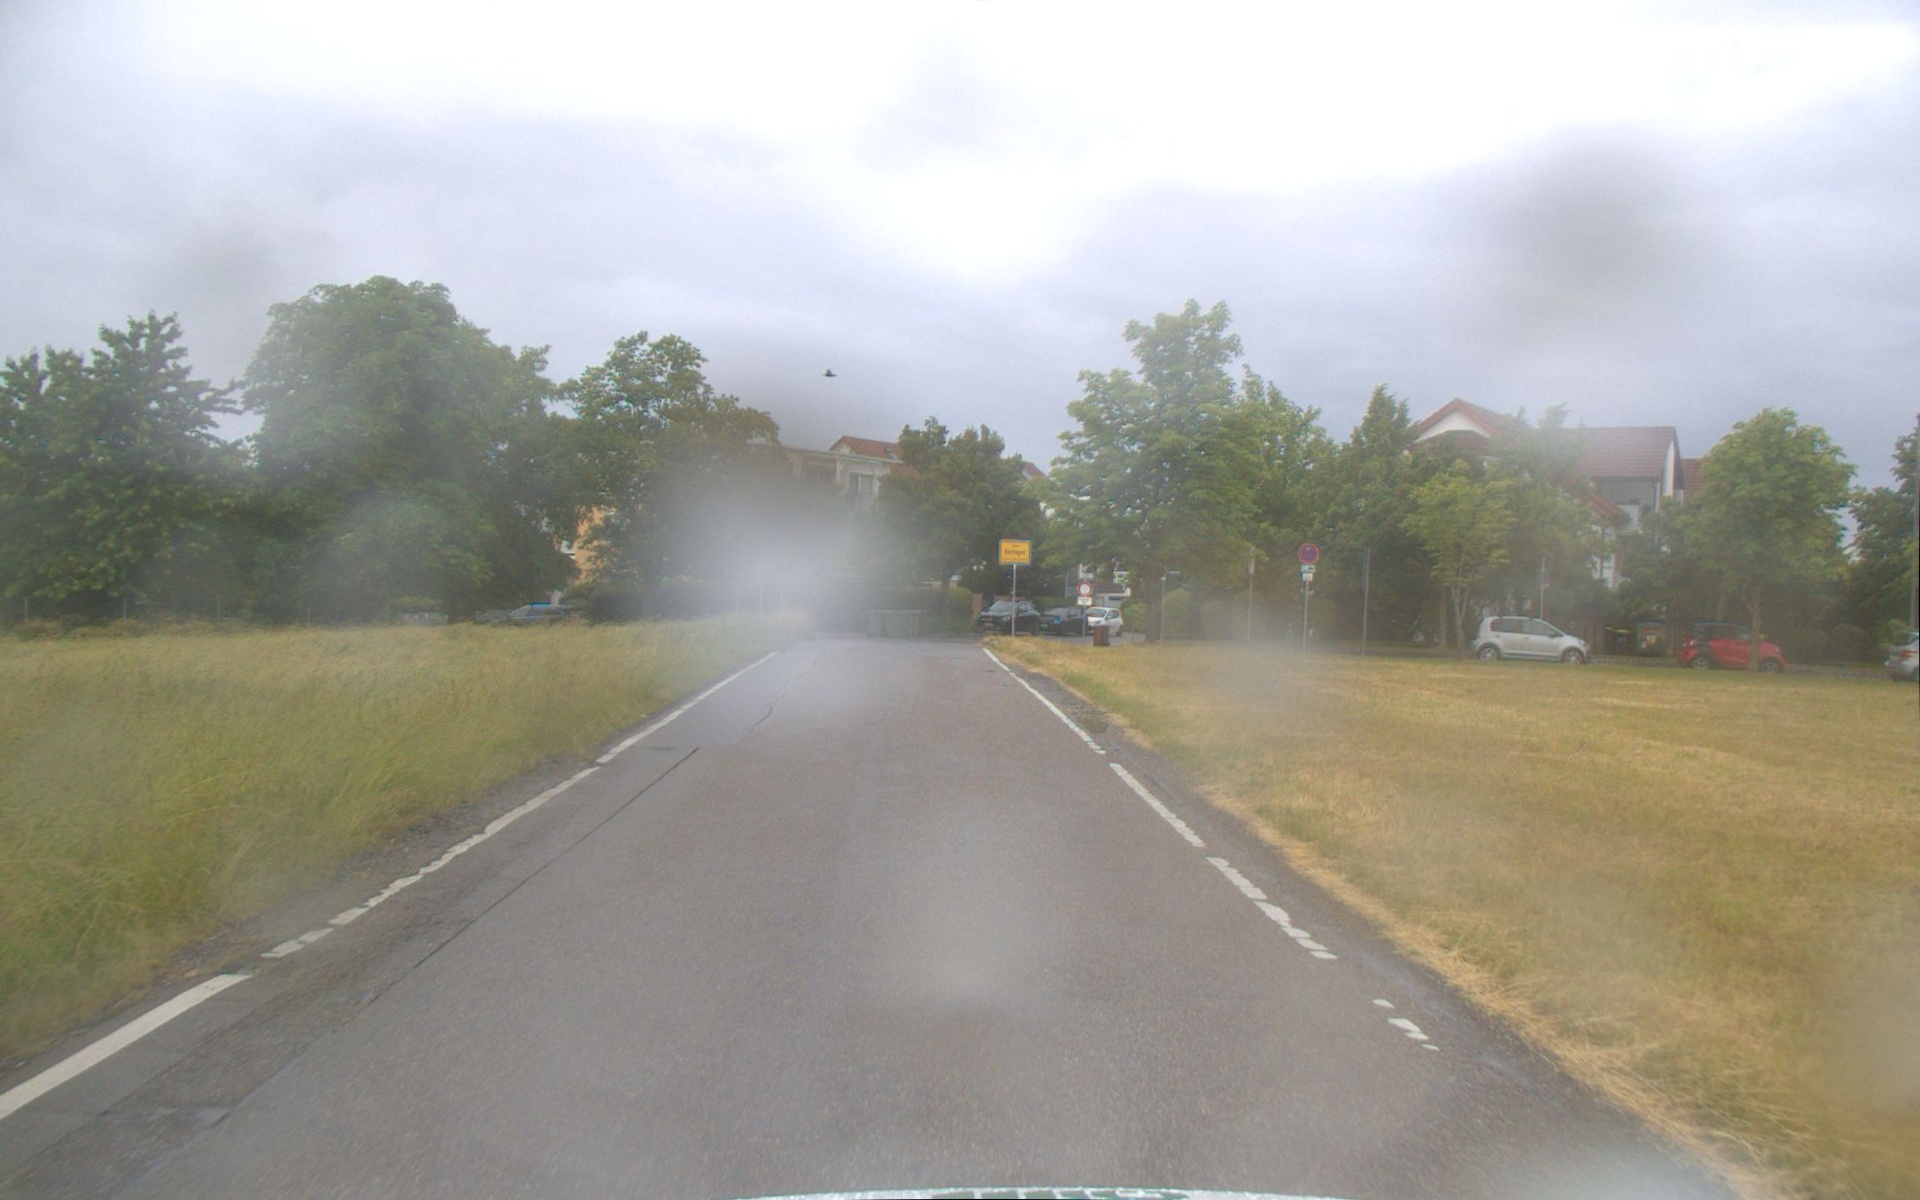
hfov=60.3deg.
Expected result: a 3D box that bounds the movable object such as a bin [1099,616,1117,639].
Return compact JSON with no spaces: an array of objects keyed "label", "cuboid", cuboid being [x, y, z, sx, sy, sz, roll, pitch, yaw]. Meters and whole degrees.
[{"label":"movable object such as a bin","cuboid":[6.350,1.195,71.057,0.560,0.947,0.529,2,-1,32]}]

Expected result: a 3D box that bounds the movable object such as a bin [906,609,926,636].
[{"label":"movable object such as a bin","cuboid":[-1.819,0.929,68.489,0.680,1.073,0.605,1,0,19]}]

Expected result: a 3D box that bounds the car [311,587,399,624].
[{"label":"car","cuboid":[-26.807,0.248,73.303,3.642,1.529,1.609,-1,-2,27]}]

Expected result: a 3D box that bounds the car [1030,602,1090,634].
[{"label":"car","cuboid":[5.052,0.924,83.371,1.604,1.433,3.599,4,1,28]}]

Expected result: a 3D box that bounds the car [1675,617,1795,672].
[{"label":"car","cuboid":[22.589,1.296,48.295,2.939,1.461,1.555,2,-1,16]}]

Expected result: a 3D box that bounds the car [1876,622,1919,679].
[{"label":"car","cuboid":[28.545,1.507,47.061,3.892,1.579,1.853,3,0,10]}]

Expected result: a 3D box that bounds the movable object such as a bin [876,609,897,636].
[{"label":"movable object such as a bin","cuboid":[-2.989,0.904,67.476,0.680,1.091,0.598,1,0,19]}]

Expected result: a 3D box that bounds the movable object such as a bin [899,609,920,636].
[{"label":"movable object such as a bin","cuboid":[-2.070,0.928,67.902,0.680,1.086,0.579,1,0,19]}]

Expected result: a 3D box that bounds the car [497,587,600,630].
[{"label":"car","cuboid":[-15.869,0.323,63.748,3.615,1.579,1.689,1,-1,28]}]

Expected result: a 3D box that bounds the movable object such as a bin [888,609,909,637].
[{"label":"movable object such as a bin","cuboid":[-2.482,0.929,66.698,0.680,1.093,0.602,1,0,19]}]

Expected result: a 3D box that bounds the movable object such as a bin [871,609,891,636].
[{"label":"movable object such as a bin","cuboid":[-3.202,0.915,66.885,0.651,1.092,0.544,1,0,19]}]

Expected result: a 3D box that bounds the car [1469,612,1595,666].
[{"label":"car","cuboid":[17.121,1.163,49.663,3.468,1.505,1.681,1,-1,16]}]

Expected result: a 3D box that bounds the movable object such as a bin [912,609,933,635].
[{"label":"movable object such as a bin","cuboid":[-1.568,0.929,69.149,0.680,1.073,0.605,1,0,19]}]

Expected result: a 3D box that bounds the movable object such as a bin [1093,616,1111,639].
[{"label":"movable object such as a bin","cuboid":[6.055,1.180,70.567,0.560,0.947,0.529,2,-1,32]}]

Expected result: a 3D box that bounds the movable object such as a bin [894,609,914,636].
[{"label":"movable object such as a bin","cuboid":[-2.276,0.924,67.313,0.680,1.093,0.544,1,0,19]}]

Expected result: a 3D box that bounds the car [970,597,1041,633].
[{"label":"car","cuboid":[2.170,0.723,78.204,1.741,1.545,4.133,4,1,26]}]

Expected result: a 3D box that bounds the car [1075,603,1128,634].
[{"label":"car","cuboid":[7.534,1.011,87.884,1.483,1.502,3.267,4,0,29]}]
